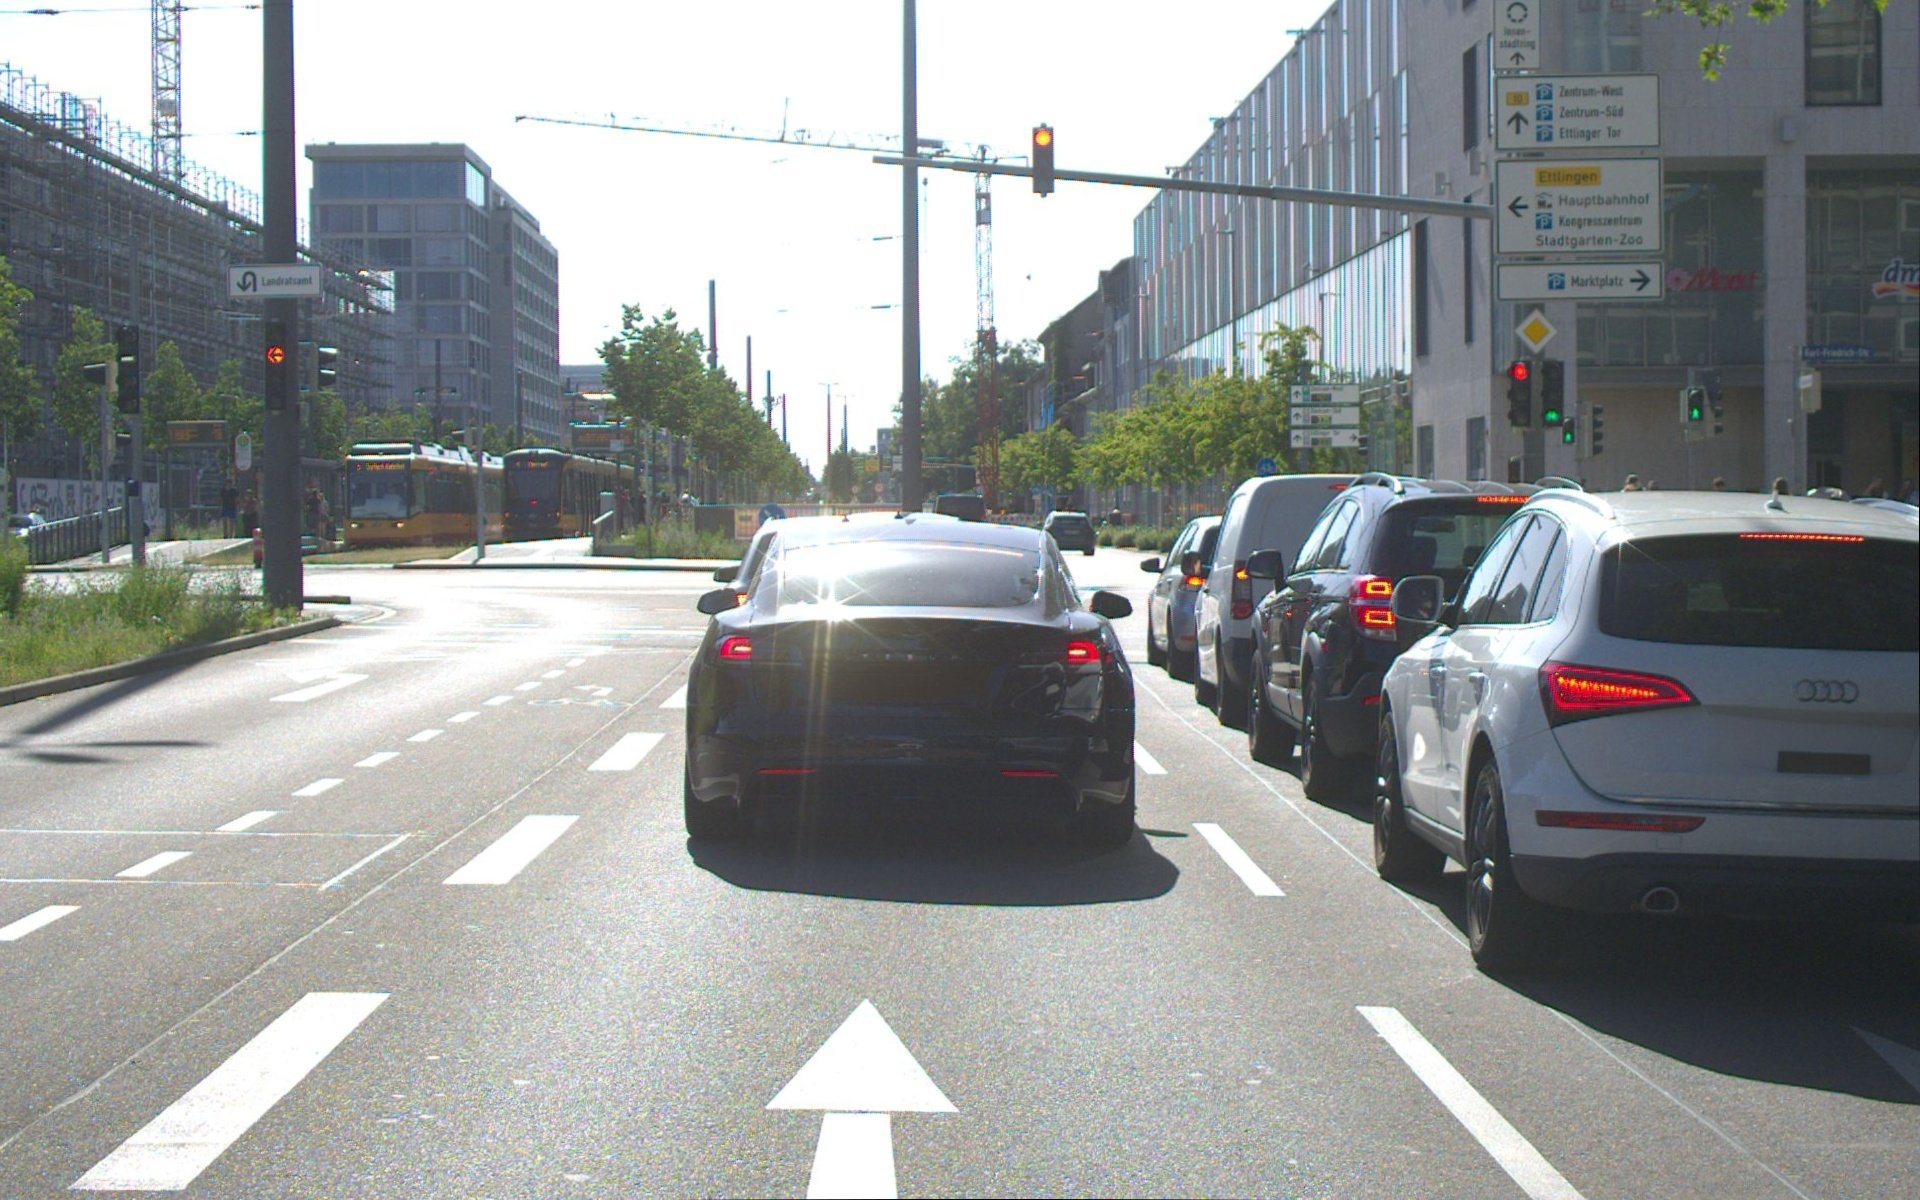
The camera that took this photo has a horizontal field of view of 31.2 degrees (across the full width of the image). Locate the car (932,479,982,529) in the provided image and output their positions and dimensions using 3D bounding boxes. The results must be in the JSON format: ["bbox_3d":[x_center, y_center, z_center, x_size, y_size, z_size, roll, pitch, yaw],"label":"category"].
[{"bbox_3d":[-0.135,-4.051,146.016,1.993,2.007,4.000,2,1,-1],"label":"car"}]

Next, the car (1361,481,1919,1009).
[{"bbox_3d":[2.549,0.373,12.579,1.721,1.612,4.186,0,2,1],"label":"car"}]

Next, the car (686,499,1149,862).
[{"bbox_3d":[-0.235,0.274,16.235,1.912,1.481,4.010,0,2,-2],"label":"car"}]

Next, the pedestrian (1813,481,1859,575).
[{"bbox_3d":[13.581,-1.113,53.290,0.562,1.435,0.631,2,1,6],"label":"pedestrian"}]

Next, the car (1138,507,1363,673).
[{"bbox_3d":[2.654,-0.144,32.174,1.721,1.426,4.187,0,2,0],"label":"car"}]

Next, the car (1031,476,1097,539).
[{"bbox_3d":[3.466,-3.105,115.633,1.993,2.007,4.000,2,1,-1],"label":"car"}]

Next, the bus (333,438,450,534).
[{"bbox_3d":[-17.587,-3.481,106.867,2.627,2.773,8.846,2,1,-3],"label":"bus"}]

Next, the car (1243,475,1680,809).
[{"bbox_3d":[2.646,0.135,19.057,1.721,1.647,4.187,0,2,-1],"label":"car"}]

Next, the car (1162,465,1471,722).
[{"bbox_3d":[2.590,-0.116,25.864,1.721,1.776,4.187,0,2,-2],"label":"car"}]

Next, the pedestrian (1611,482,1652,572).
[{"bbox_3d":[10.988,-1.192,56.264,0.562,1.435,0.631,2,1,6],"label":"pedestrian"}]

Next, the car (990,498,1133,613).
[{"bbox_3d":[1.292,-0.620,45.130,1.721,1.426,4.187,0,2,0],"label":"car"}]

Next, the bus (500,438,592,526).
[{"bbox_3d":[-14.837,-4.183,123.782,2.627,2.949,9.901,2,1,-3],"label":"bus"}]
